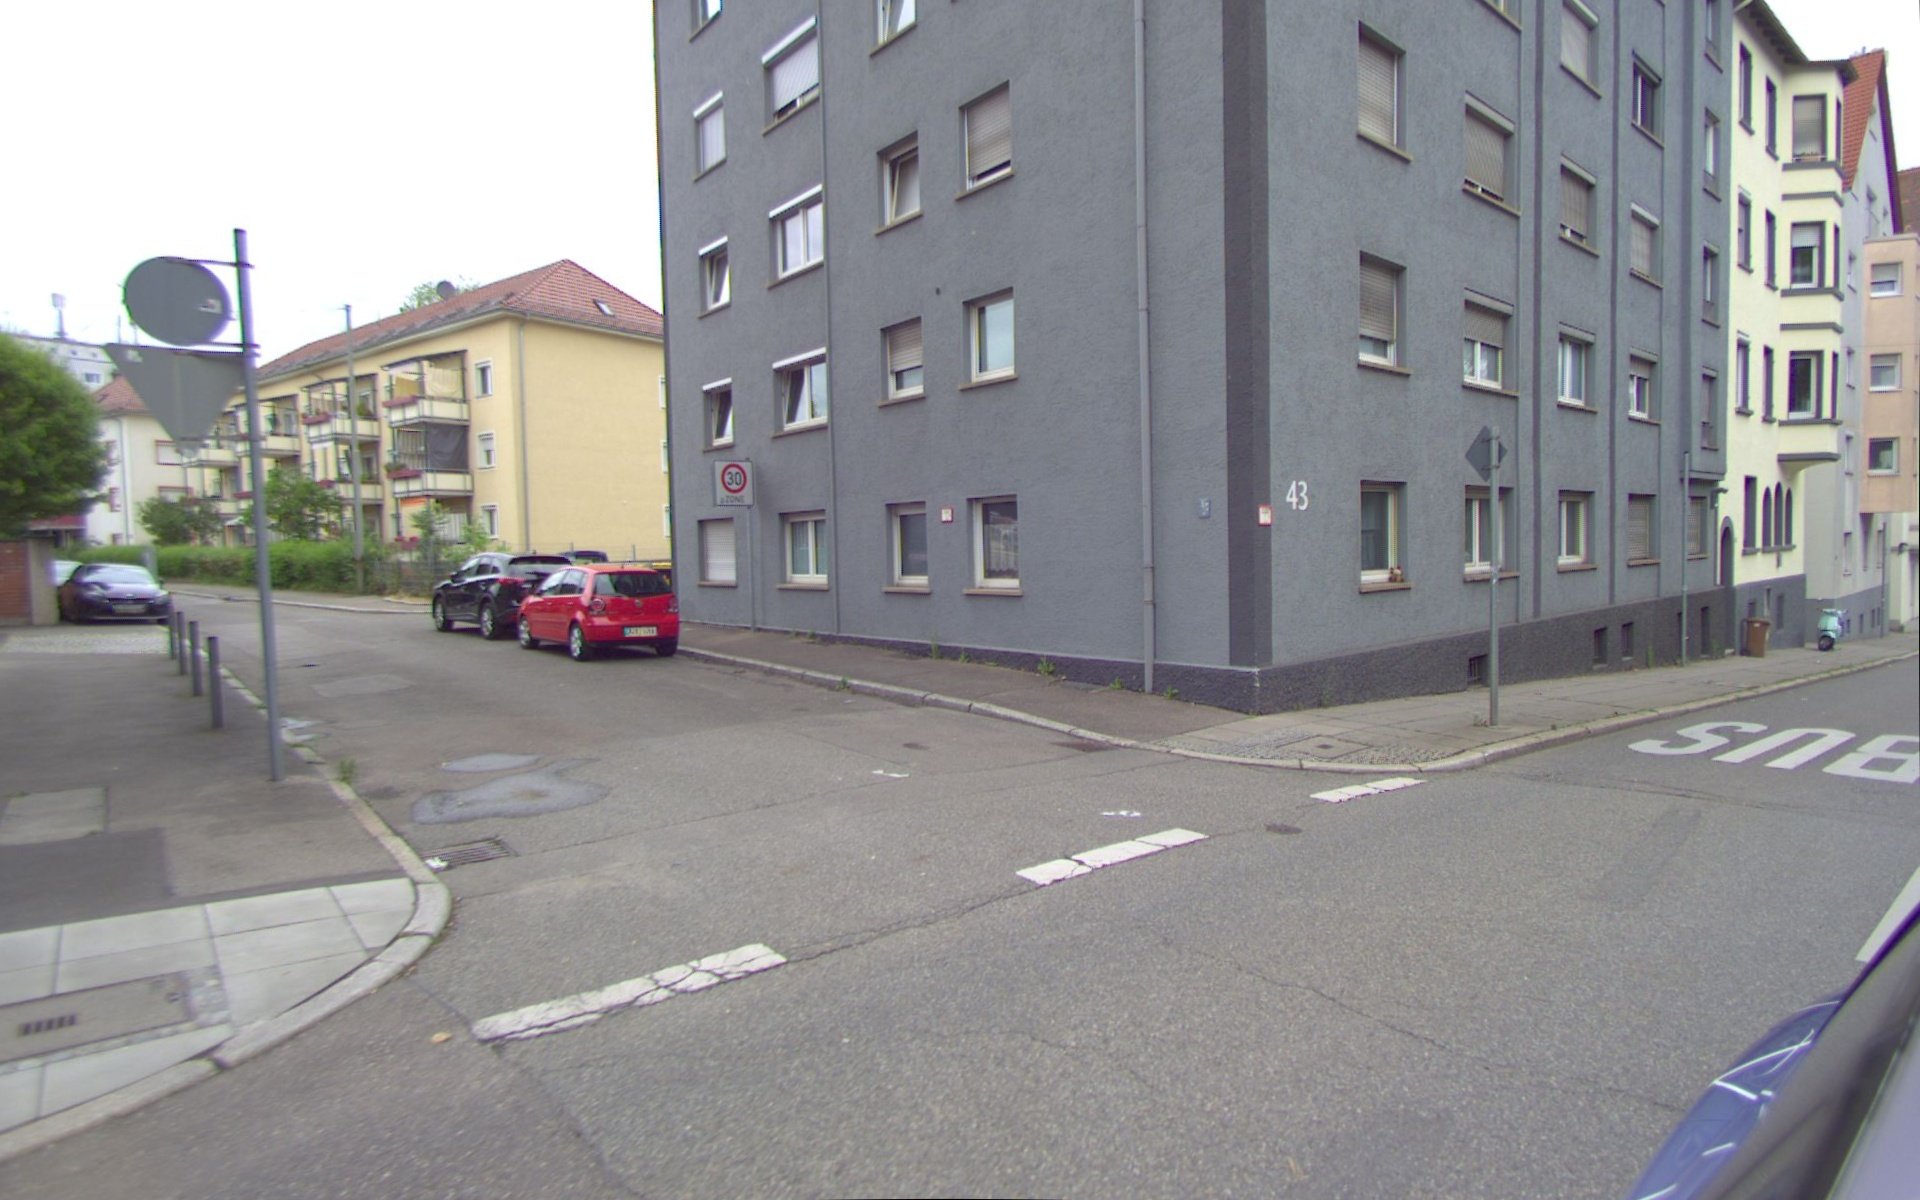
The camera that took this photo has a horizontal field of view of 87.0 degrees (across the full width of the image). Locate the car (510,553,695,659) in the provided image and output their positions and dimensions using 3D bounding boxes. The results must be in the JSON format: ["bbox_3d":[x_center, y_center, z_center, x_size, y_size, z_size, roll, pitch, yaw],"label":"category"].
[{"bbox_3d":[-6.041,0.020,16.872,1.734,1.482,3.668,0,3,-40],"label":"car"}]

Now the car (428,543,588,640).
[{"bbox_3d":[-9.190,-0.250,20.399,1.657,1.695,4.112,0,3,-44],"label":"car"}]

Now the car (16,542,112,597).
[{"bbox_3d":[-28.573,-0.993,32.242,4.103,1.571,1.740,4,3,40],"label":"car"}]

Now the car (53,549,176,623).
[{"bbox_3d":[-20.774,-0.392,24.812,3.938,1.571,1.776,4,3,42],"label":"car"}]

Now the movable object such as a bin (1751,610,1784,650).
[{"bbox_3d":[19.091,0.707,23.936,0.508,0.902,0.476,0,4,-41],"label":"movable object such as a bin"}]

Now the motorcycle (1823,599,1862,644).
[{"bbox_3d":[24.543,0.585,28.141,2.189,1.170,0.538,0,4,-44],"label":"motorcycle"}]
